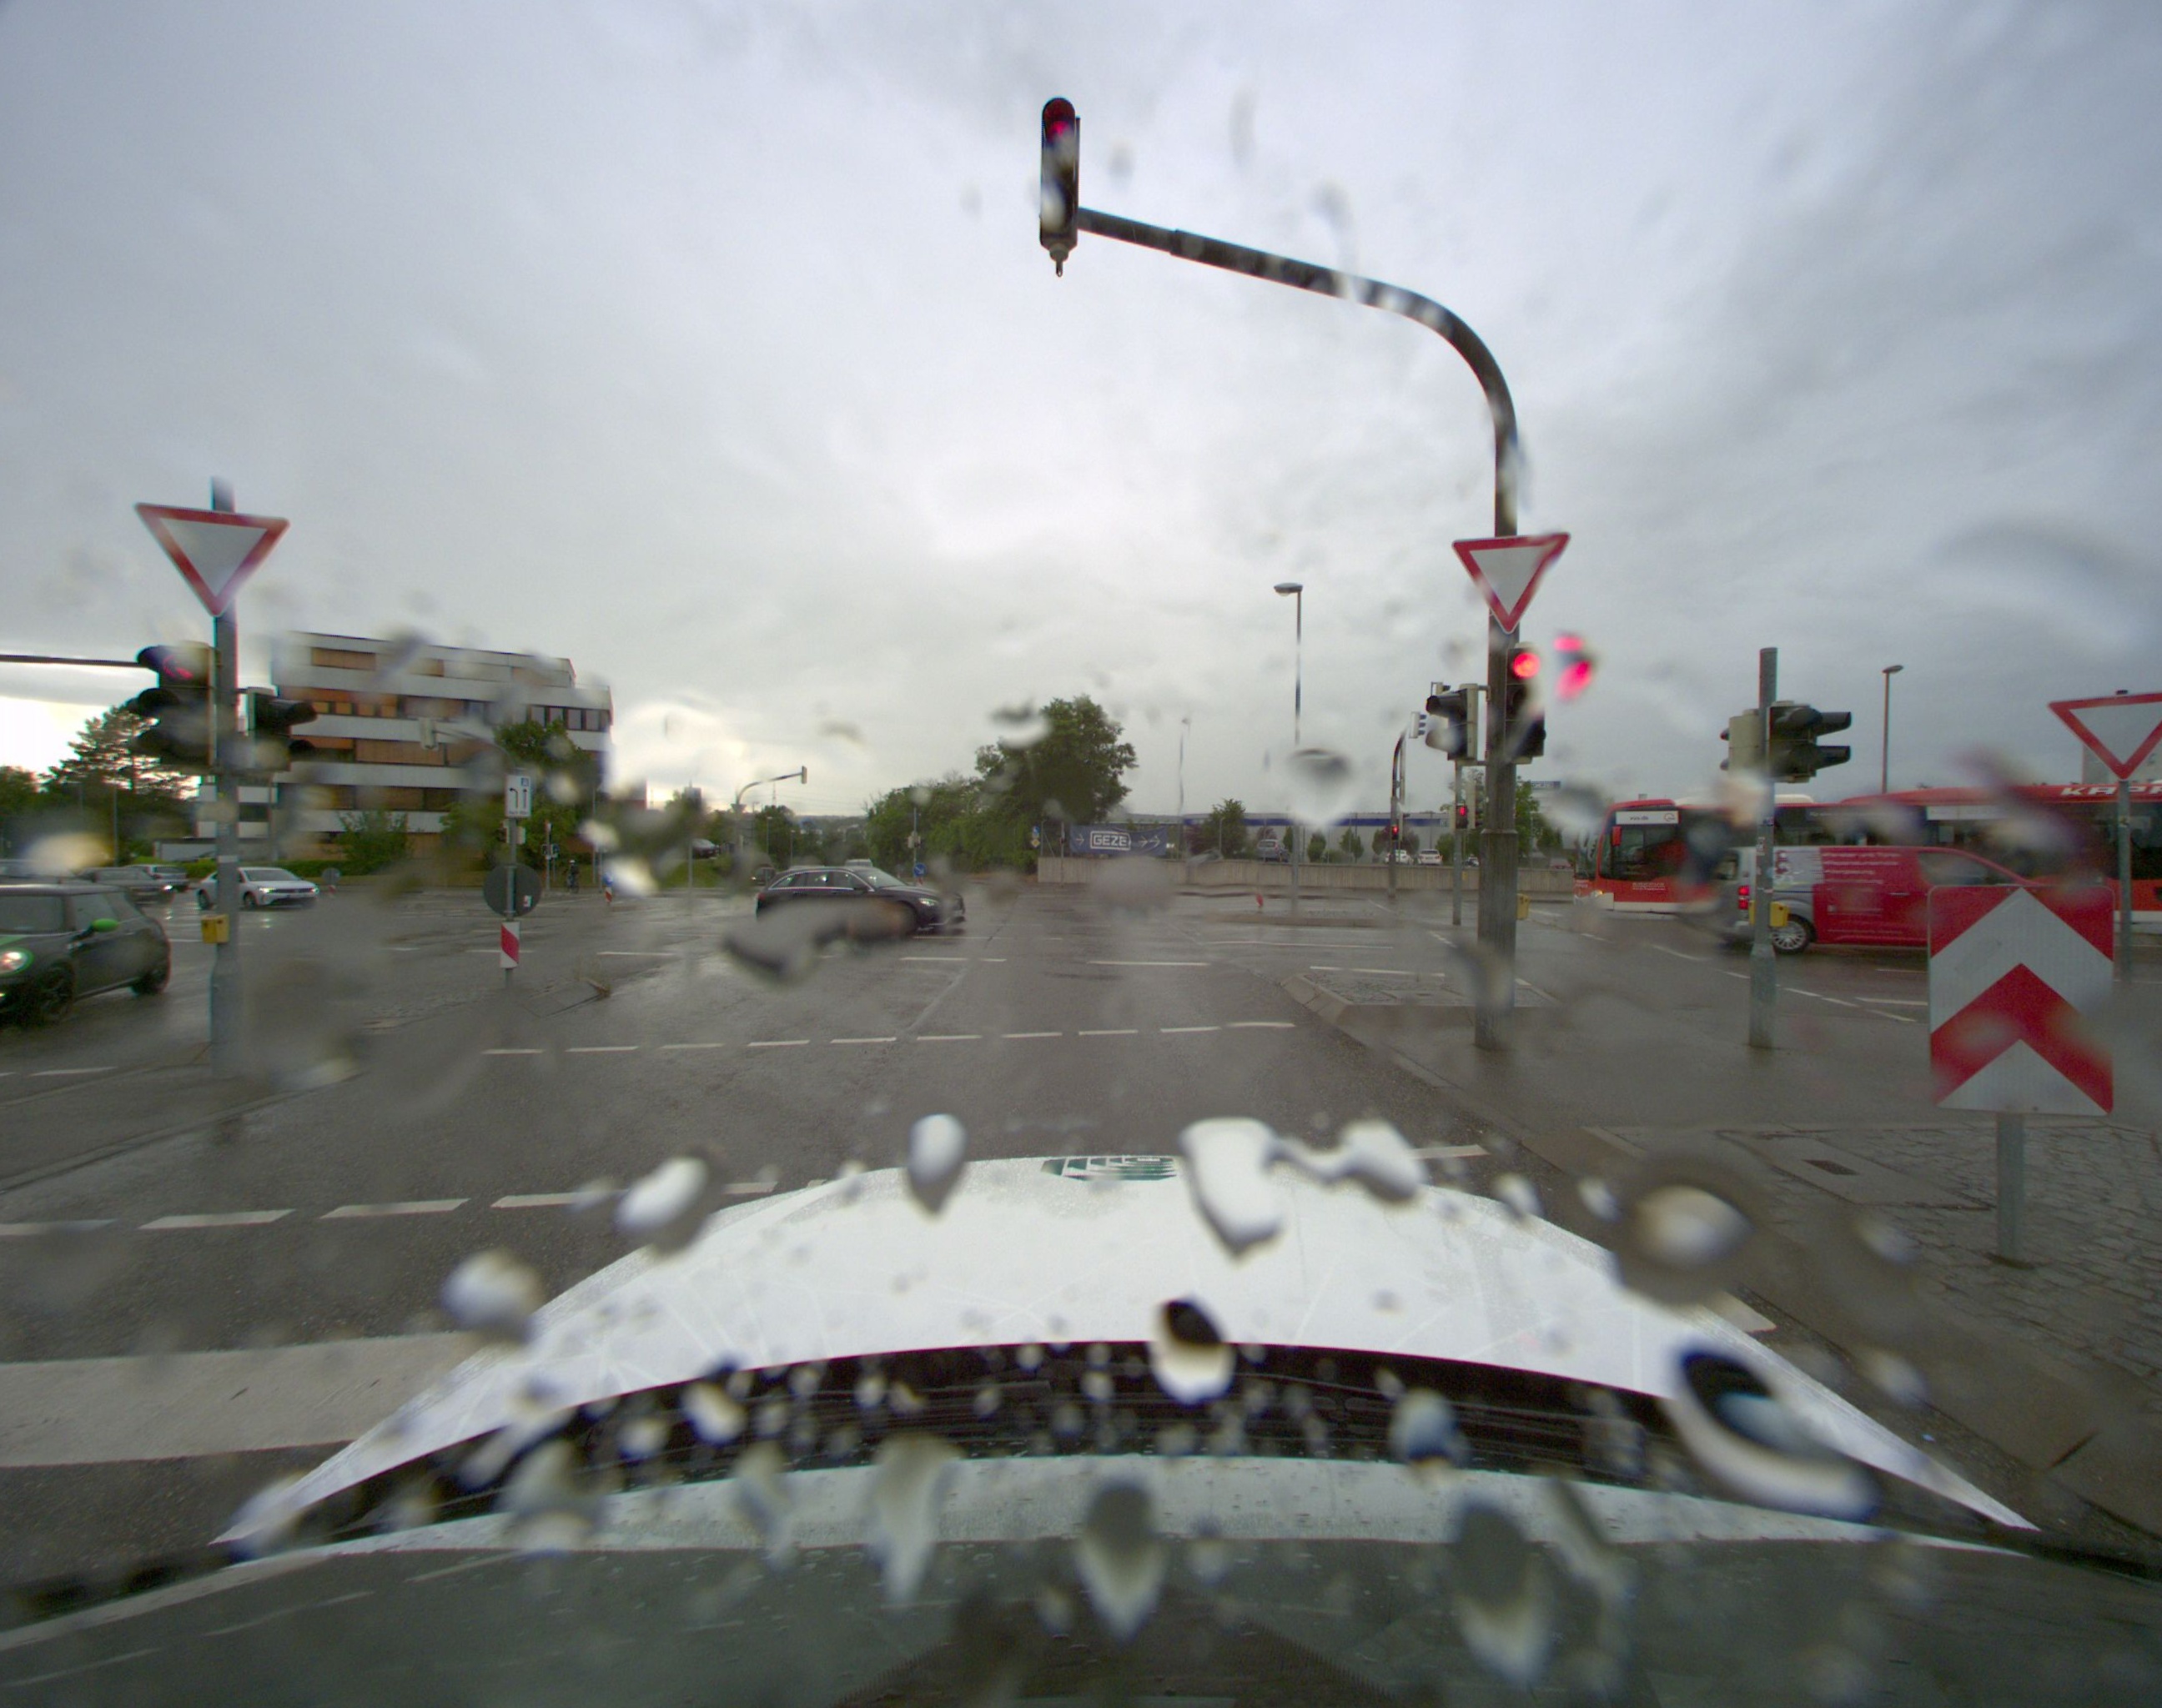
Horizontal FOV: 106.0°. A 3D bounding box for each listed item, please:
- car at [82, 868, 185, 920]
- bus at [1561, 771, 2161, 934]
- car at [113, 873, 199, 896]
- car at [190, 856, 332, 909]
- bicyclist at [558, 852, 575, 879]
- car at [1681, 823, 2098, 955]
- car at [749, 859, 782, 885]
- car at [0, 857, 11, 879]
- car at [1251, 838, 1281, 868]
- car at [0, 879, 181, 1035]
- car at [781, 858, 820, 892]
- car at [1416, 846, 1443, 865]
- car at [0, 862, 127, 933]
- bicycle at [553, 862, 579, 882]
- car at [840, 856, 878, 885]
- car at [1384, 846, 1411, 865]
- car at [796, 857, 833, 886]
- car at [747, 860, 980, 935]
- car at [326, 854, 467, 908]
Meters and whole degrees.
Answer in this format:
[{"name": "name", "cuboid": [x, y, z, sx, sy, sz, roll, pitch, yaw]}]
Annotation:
[{"name": "car", "cuboid": [-36.537, 1.498, 31.397, 3.950, 1.838, 1.715, 0, 0, 28]}, {"name": "bus", "cuboid": [18.679, -0.121, 19.306, 12.177, 3.321, 3.090, 1, 0, 19]}, {"name": "car", "cuboid": [-49.047, 1.591, 43.177, 3.476, 1.105, 1.829, 0, 0, 19]}, {"name": "car", "cuboid": [-28.447, 0.940, 28.269, 3.953, 1.684, 2.010, 0, 0, 21]}, {"name": "bicyclist", "cuboid": [-27.947, 0.596, 44.216, 0.538, 1.446, 0.607, 0, 0, 38]}, {"name": "car", "cuboid": [13.562, 0.547, 14.080, 4.734, 2.013, 2.009, 0, 0, 17]}, {"name": "car", "cuboid": [-24.603, 1.355, 63.692, 1.997, 1.895, 3.979, 0, 0, -15]}, {"name": "car", "cuboid": [-95.803, 1.218, 71.633, 3.948, 1.849, 2.013, 0, 0, 36]}, {"name": "car", "cuboid": [13.096, -0.070, 57.530, 1.979, 2.013, 4.015, 0, 0, 13]}, {"name": "car", "cuboid": [-11.711, 1.031, 8.914, 1.688, 1.387, 3.424, 0, 0, -34]}, {"name": "car", "cuboid": [-16.794, 1.234, 48.870, 1.998, 1.895, 3.978, 0, 0, -16]}, {"name": "car", "cuboid": [28.689, 0.115, 67.150, 1.976, 1.478, 4.021, 0, 0, 21]}, {"name": "car", "cuboid": [-28.364, 1.103, 21.768, 4.561, 1.702, 2.009, 0, 0, 16]}, {"name": "bicycle", "cuboid": [-28.003, 0.982, 44.265, 1.757, 1.052, 0.614, 0, 0, 38]}, {"name": "car", "cuboid": [-13.069, 0.928, 48.143, 1.995, 1.618, 3.983, 0, 0, -13]}, {"name": "car", "cuboid": [26.383, 0.106, 67.830, 1.976, 1.478, 4.021, 0, 0, 22]}, {"name": "car", "cuboid": [-18.257, 1.169, 55.984, 1.995, 1.895, 3.983, 0, 0, -12]}, {"name": "car", "cuboid": [-4.796, 0.889, 18.101, 4.623, 1.476, 2.009, 0, 0, 17]}, {"name": "car", "cuboid": [-25.002, 0.934, 29.769, 4.108, 1.840, 2.009, 0, 0, 17]}]
